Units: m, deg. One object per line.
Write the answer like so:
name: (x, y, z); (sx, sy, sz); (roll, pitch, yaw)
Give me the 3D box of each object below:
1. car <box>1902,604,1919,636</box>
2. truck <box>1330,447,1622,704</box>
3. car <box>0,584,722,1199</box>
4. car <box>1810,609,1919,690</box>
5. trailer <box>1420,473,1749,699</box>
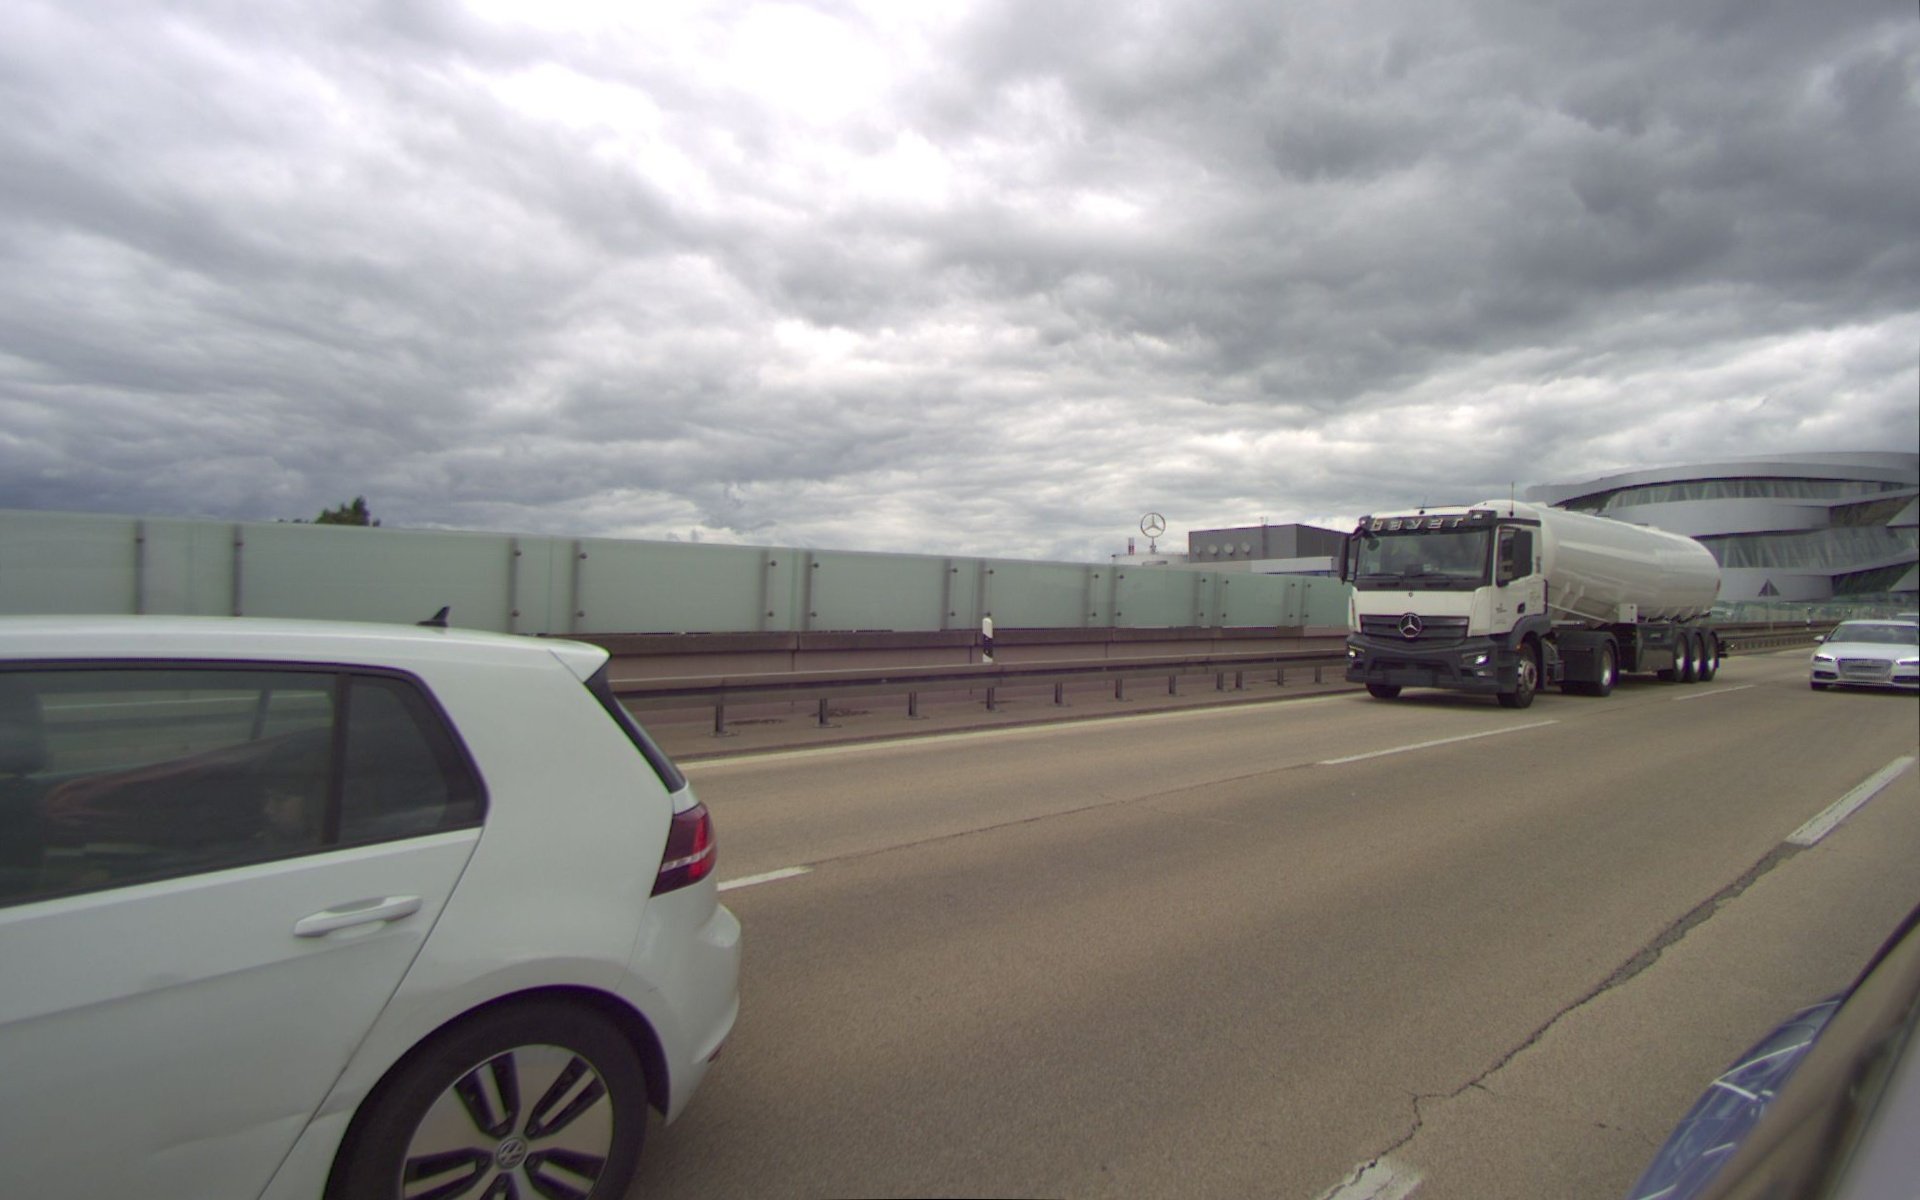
car: (51.621, 1.047, 53.848); (3.564, 1.654, 1.784); (0, 0, -41)
truck: (8.524, -0.255, 16.576); (4.817, 3.560, 2.634); (2, -3, -41)
car: (-2.637, 0.700, 1.711); (4.002, 1.470, 1.757); (1, 0, -42)
car: (18.692, 0.923, 20.288); (3.861, 1.470, 1.848); (1, 0, -39)
trailer: (13.215, -0.238, 20.723); (11.024, 3.588, 2.654); (0, 0, -41)
